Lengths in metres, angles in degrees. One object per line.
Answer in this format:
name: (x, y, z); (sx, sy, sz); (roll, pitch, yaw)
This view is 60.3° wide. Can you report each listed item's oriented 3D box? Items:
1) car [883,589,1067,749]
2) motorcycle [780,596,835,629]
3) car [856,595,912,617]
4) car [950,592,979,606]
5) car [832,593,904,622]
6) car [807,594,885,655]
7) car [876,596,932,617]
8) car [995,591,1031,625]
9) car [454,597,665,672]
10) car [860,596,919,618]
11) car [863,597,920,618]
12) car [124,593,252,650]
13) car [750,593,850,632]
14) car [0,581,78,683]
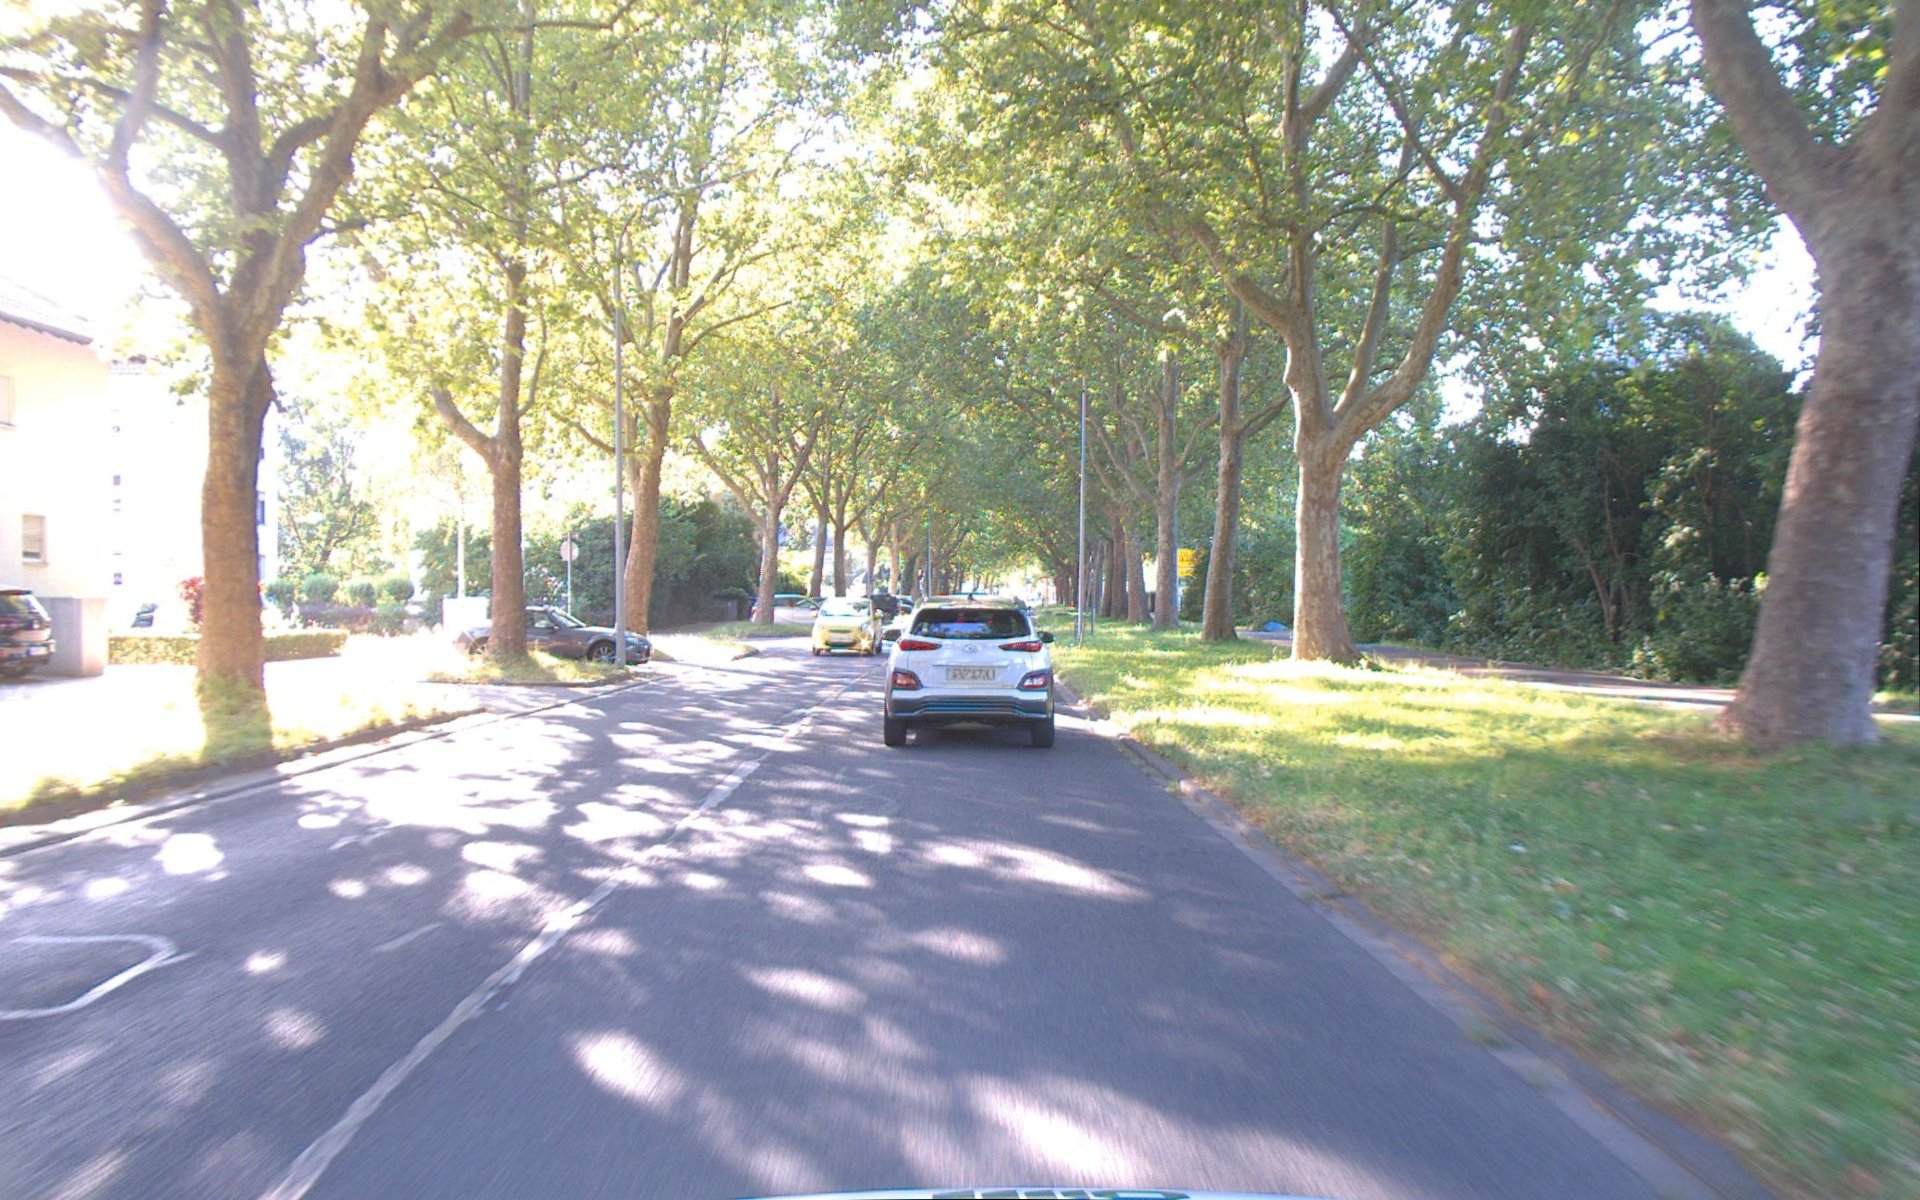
car: (0.061, 0.706, 18.549); (1.799, 1.583, 3.997); (1, 0, -3)
motorcycle: (-6.706, 0.548, 72.794); (2.338, 1.412, 0.648); (1, 1, -3)
car: (-5.406, 0.424, 118.022); (3.904, 1.546, 1.809); (0, 0, 1)
car: (0.601, -0.102, 226.799); (3.907, 1.803, 1.999); (1, -1, -2)
car: (-5.513, 0.426, 99.071); (4.155, 1.709, 1.671); (0, 0, 2)
car: (-2.995, 0.631, 44.102); (1.747, 1.539, 3.838); (0, 0, 1)
car: (-4.047, 0.438, 120.345); (3.903, 1.496, 1.810); (0, 0, 4)
car: (2.786, 0.415, 87.750); (1.642, 1.725, 3.743); (0, 0, -2)
car: (-7.923, 0.675, 32.960); (3.748, 1.339, 1.790); (2, 0, -1)
car: (-4.791, 0.479, 112.711); (3.904, 1.496, 1.781); (0, 0, 1)
car: (-4.769, 0.513, 115.066); (3.906, 1.449, 1.808); (0, 0, -2)
car: (-22.676, 0.601, 48.736); (1.953, 1.602, 3.999); (0, 0, -2)
car: (-6.773, 0.512, 70.318); (4.099, 1.612, 1.999); (0, 0, -2)
car: (-15.834, 0.430, 25.035); (3.905, 1.489, 1.901); (1, 0, 0)
